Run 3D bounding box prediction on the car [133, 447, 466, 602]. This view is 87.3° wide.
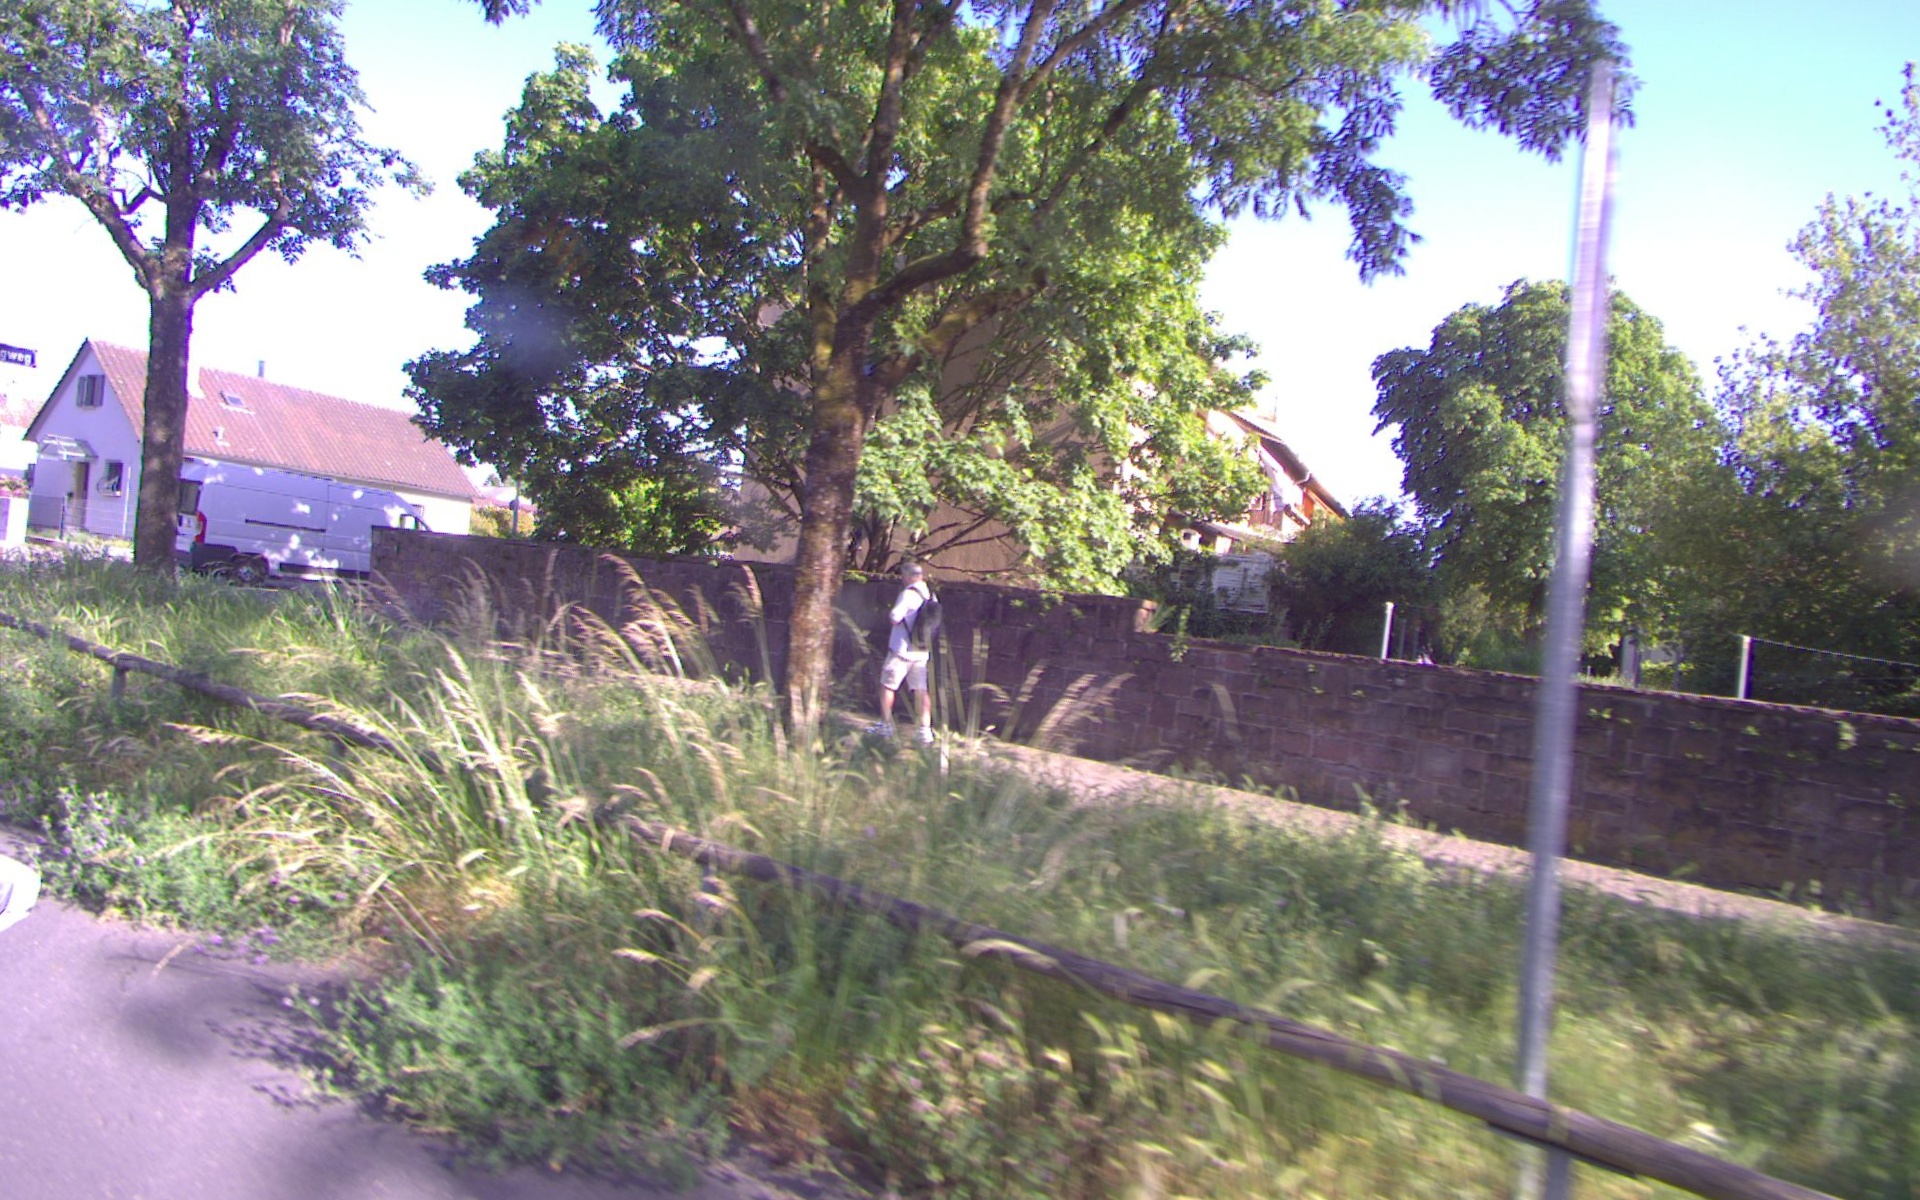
[{"bbox_3d":[-14.289,-1.521,22.243,2.227,2.570,5.603,7,0,29],"label":"car"}]

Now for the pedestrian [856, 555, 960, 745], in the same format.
[{"bbox_3d":[-0.501,0.472,9.818,0.602,1.729,0.637,8,4,30],"label":"pedestrian"}]
